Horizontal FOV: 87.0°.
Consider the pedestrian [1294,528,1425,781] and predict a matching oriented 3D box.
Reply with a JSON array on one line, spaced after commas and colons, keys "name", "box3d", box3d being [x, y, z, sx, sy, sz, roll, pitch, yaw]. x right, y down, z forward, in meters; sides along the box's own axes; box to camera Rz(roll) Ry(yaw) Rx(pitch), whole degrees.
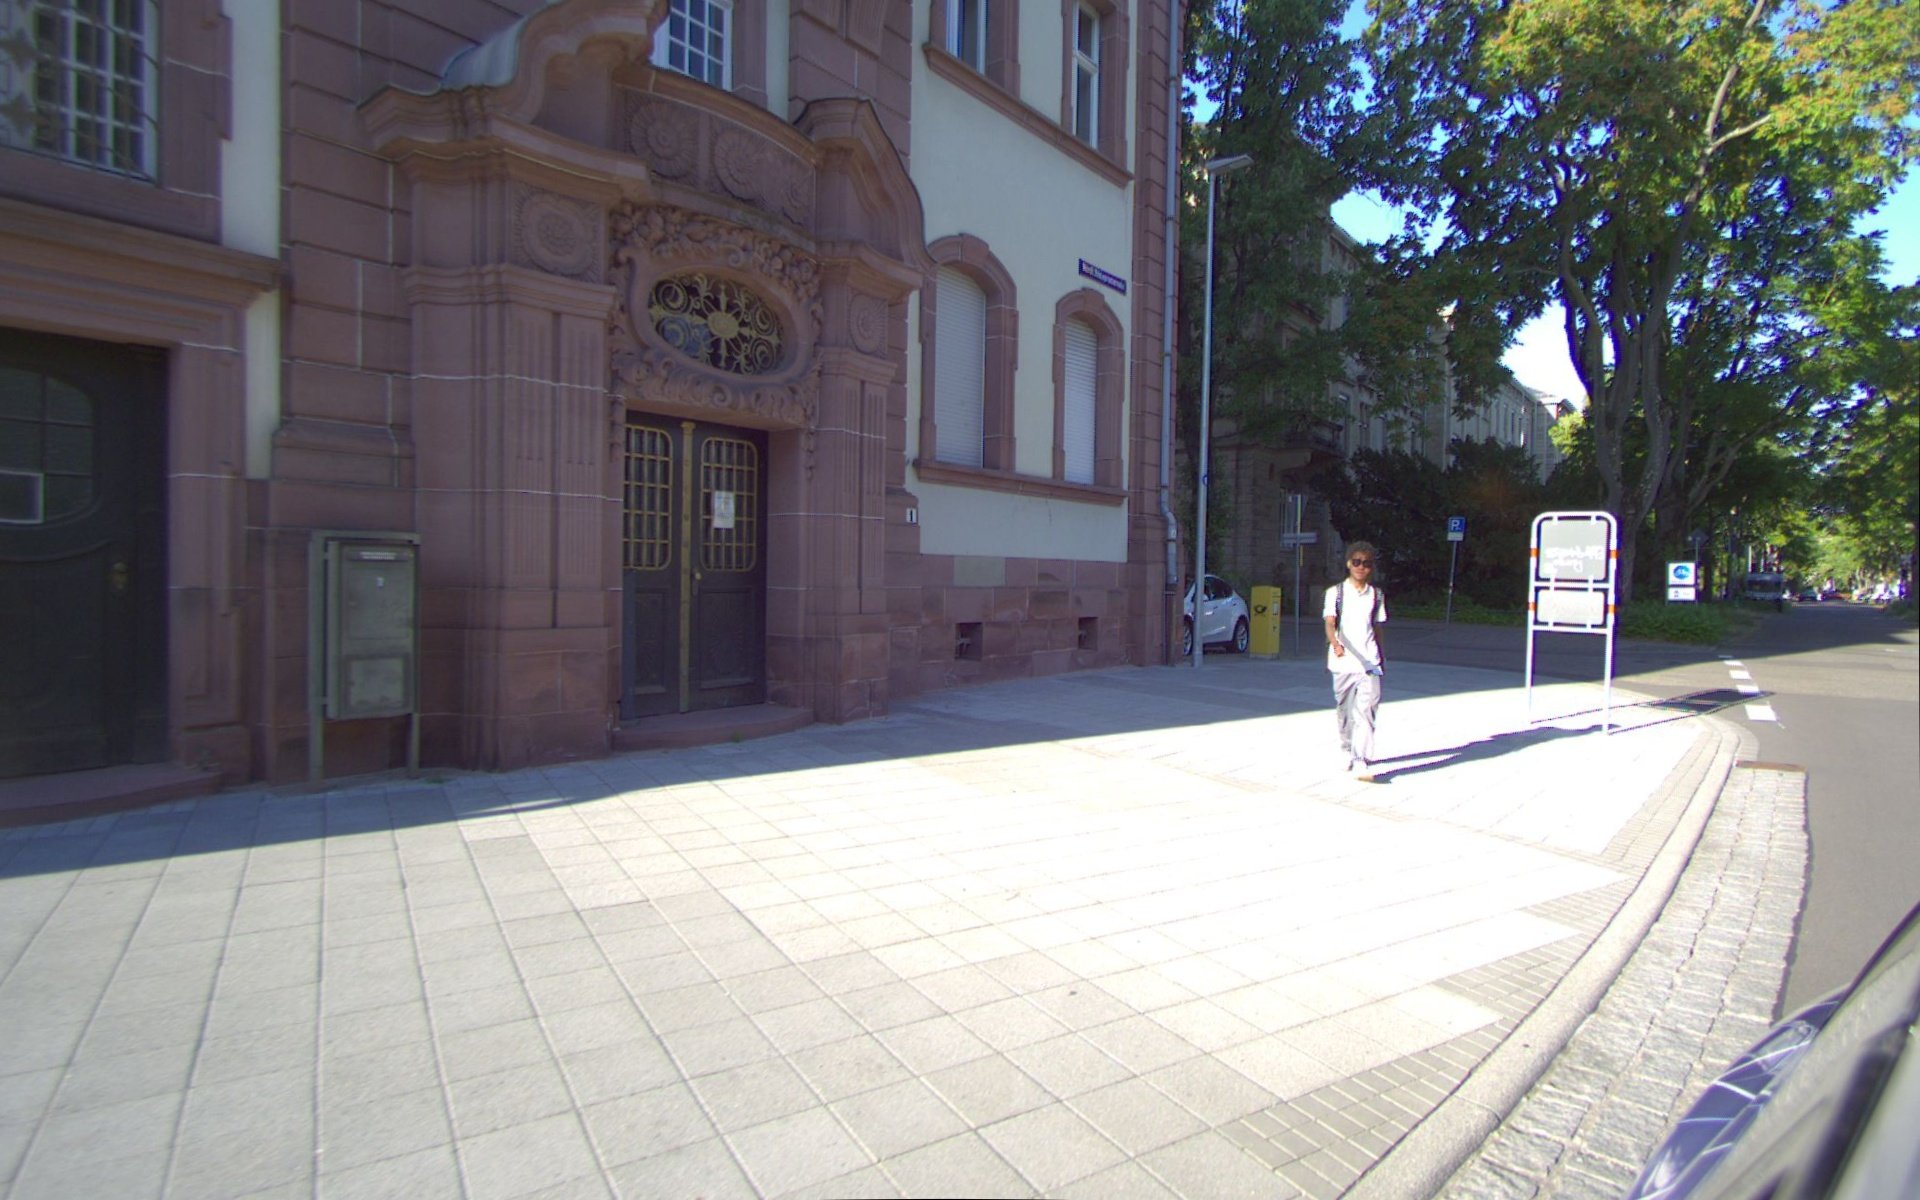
[{"name": "pedestrian", "box3d": [2.987, 0.363, 7.542, 0.532, 1.739, 0.988, 5, 3, 40]}]

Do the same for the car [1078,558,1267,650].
[{"name": "car", "box3d": [4.385, 0.110, 20.322, 1.955, 1.609, 4.659, 2, -1, 36]}]

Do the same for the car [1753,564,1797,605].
[{"name": "car", "box3d": [53.556, -1.049, 66.504, 1.946, 2.631, 4.101, 1, 1, 43]}]
